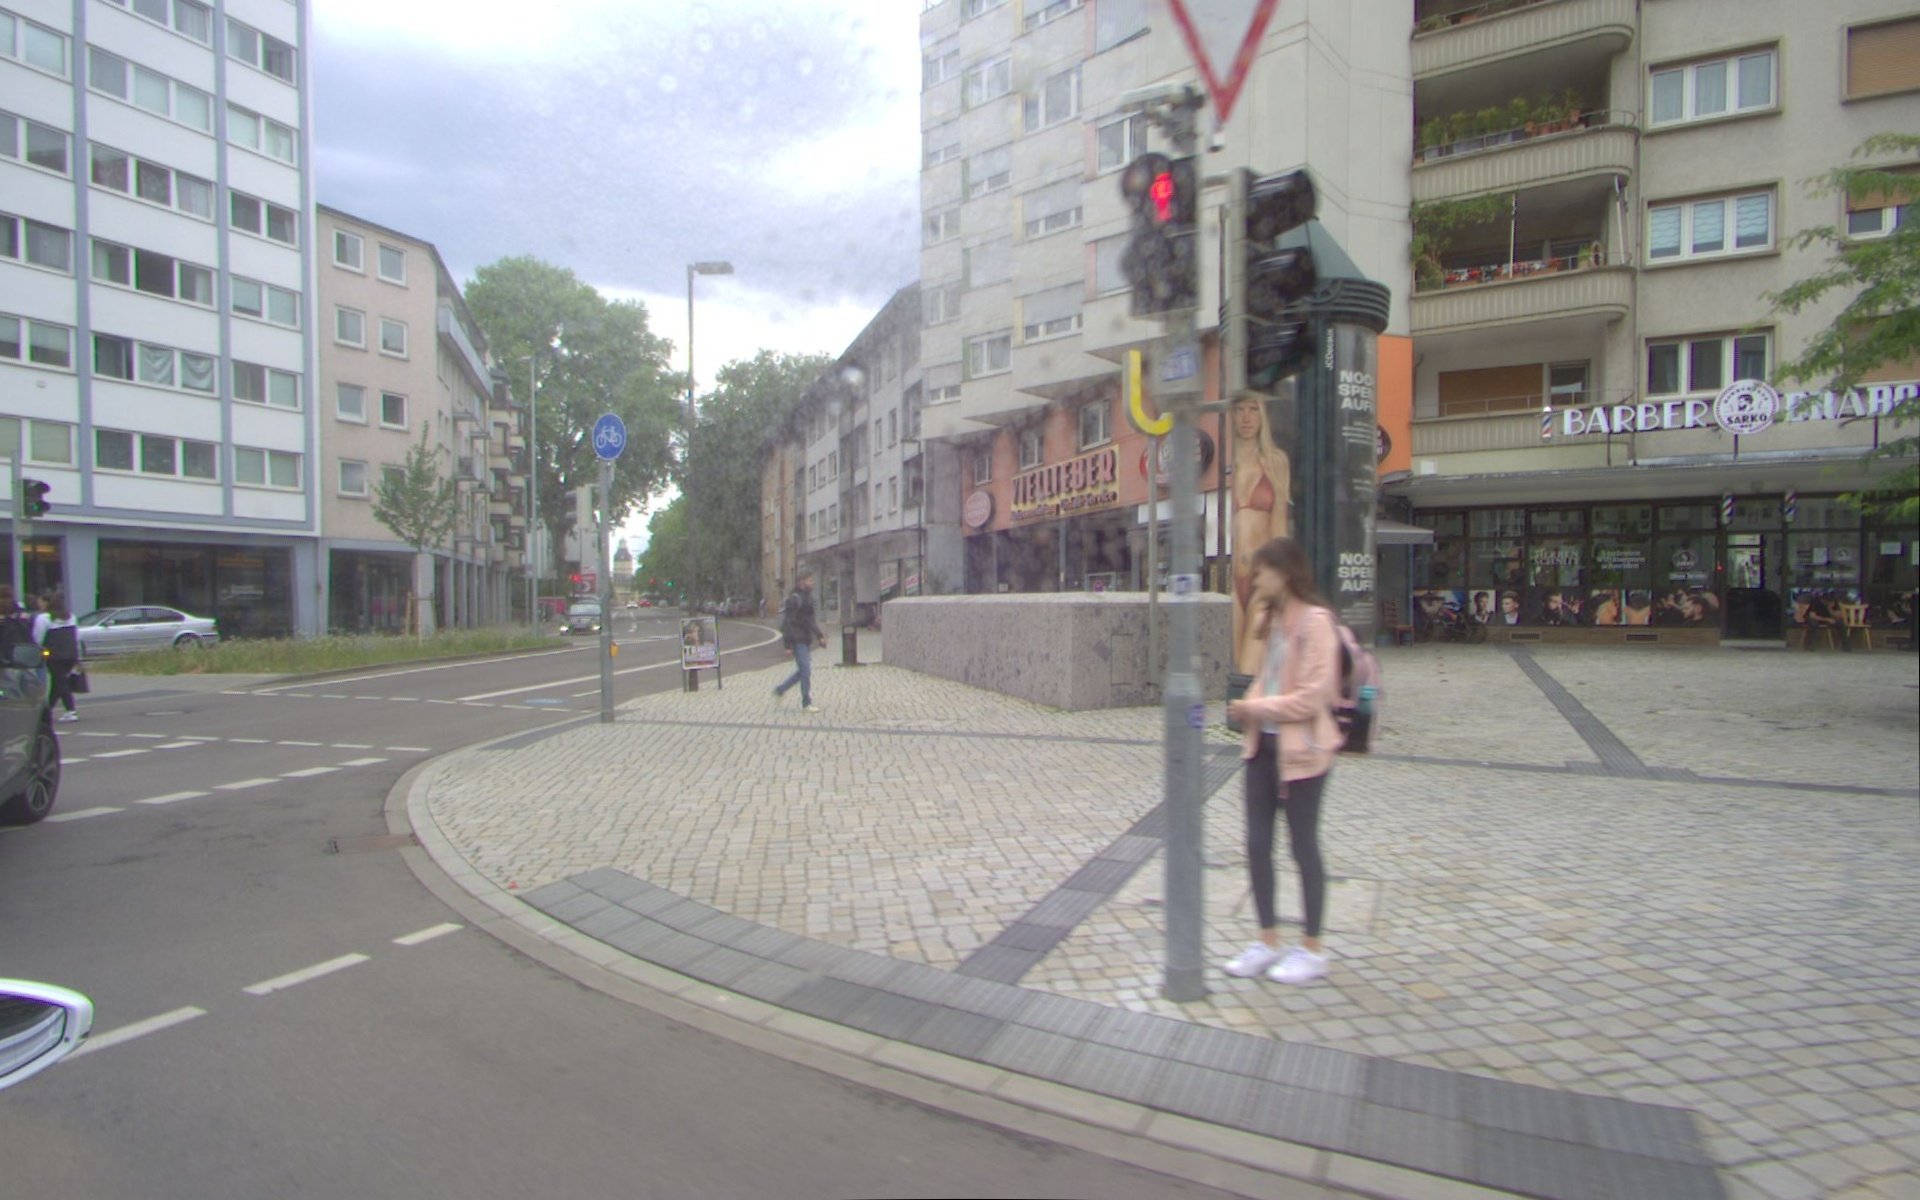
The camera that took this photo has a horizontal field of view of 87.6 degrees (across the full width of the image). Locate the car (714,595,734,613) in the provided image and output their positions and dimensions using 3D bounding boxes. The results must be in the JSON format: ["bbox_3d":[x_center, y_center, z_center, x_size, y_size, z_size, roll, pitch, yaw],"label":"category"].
[{"bbox_3d":[-25.687,0.407,108.934,1.836,1.798,3.975,1,0,-17],"label":"car"}]

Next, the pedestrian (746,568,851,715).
[{"bbox_3d":[-2.182,0.529,13.532,1.137,1.888,0.800,0,2,36],"label":"pedestrian"}]

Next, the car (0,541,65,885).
[{"bbox_3d":[-6.335,0.592,5.441,1.847,1.798,4.532,1,-1,-38],"label":"car"}]

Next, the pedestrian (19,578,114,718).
[{"bbox_3d":[-11.767,0.617,13.193,0.766,1.784,0.622,0,0,18],"label":"pedestrian"}]

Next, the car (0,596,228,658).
[{"bbox_3d":[-22.587,0.649,26.821,1.719,1.501,4.553,0,0,23],"label":"car"}]

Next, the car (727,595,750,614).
[{"bbox_3d":[-21.606,0.413,97.643,1.836,1.798,3.975,1,0,-17],"label":"car"}]

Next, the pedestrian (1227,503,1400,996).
[{"bbox_3d":[1.384,0.546,3.965,0.591,1.784,0.523,0,0,18],"label":"pedestrian"}]

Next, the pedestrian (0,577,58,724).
[{"bbox_3d":[-11.953,0.616,12.568,0.766,1.784,0.622,0,0,18],"label":"pedestrian"}]

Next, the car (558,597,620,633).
[{"bbox_3d":[-16.287,0.624,44.194,1.715,1.501,4.563,-1,0,-10],"label":"car"}]

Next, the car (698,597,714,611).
[{"bbox_3d":[-35.282,0.565,139.063,1.836,1.798,3.975,1,0,-17],"label":"car"}]

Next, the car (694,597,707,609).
[{"bbox_3d":[-39.979,0.407,154.125,1.836,1.798,3.975,1,0,-17],"label":"car"}]

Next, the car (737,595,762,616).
[{"bbox_3d":[-19.098,0.475,90.660,1.836,1.798,3.975,1,0,-17],"label":"car"}]

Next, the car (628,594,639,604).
[{"bbox_3d":[-61.252,-0.146,187.911,1.836,1.798,3.975,1,0,-17],"label":"car"}]
